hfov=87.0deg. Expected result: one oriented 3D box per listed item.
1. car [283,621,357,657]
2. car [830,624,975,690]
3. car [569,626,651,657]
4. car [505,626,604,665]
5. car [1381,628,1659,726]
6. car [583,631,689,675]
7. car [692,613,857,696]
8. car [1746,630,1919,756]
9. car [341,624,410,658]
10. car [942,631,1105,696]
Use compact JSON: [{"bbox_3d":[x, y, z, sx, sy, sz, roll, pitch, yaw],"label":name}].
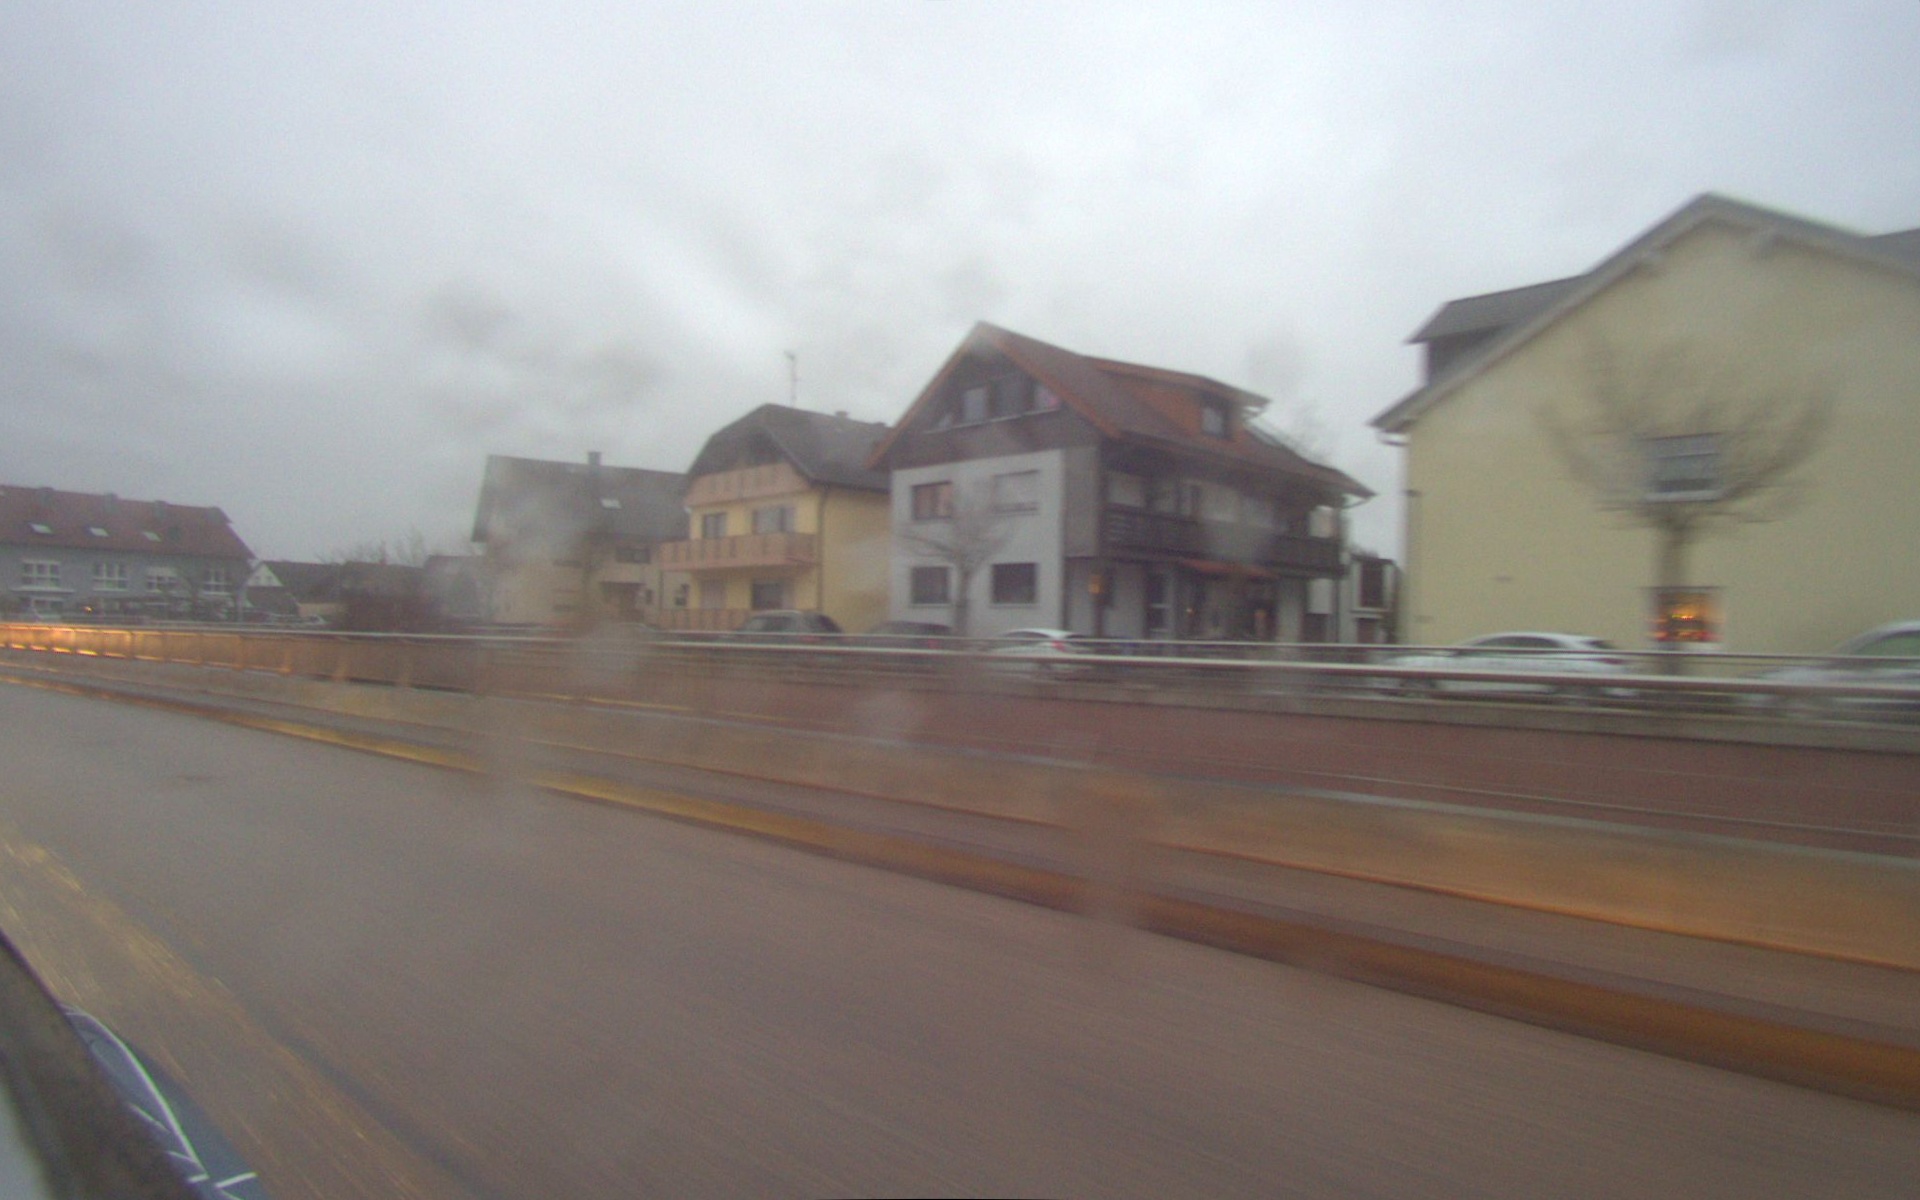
[{"bbox_3d":[-36.469,2.185,57.661,4.346,1.919,1.977,-1,0,34],"label":"car"},{"bbox_3d":[-1.689,1.574,29.010,3.997,1.694,1.839,-1,0,41],"label":"car"},{"bbox_3d":[-19.615,2.295,56.755,3.972,1.535,1.818,-1,0,-33],"label":"car"},{"bbox_3d":[-16.415,1.787,40.854,4.646,1.453,1.857,-1,-2,42],"label":"car"},{"bbox_3d":[10.332,1.391,18.861,4.223,1.611,1.854,-2,-5,42],"label":"car"},{"bbox_3d":[-12.026,1.919,37.505,4.141,1.517,1.857,-1,-2,40],"label":"car"},{"bbox_3d":[-4.528,1.263,24.479,3.854,1.817,1.783,0,-2,37],"label":"car"},{"bbox_3d":[14.516,1.369,14.911,4.500,1.792,1.854,-2,-5,42],"label":"car"},{"bbox_3d":[-30.567,2.116,52.872,3.997,1.529,1.877,0,1,40],"label":"car"},{"bbox_3d":[1.622,1.606,26.521,4.029,1.535,1.750,0,-2,41],"label":"car"}]
